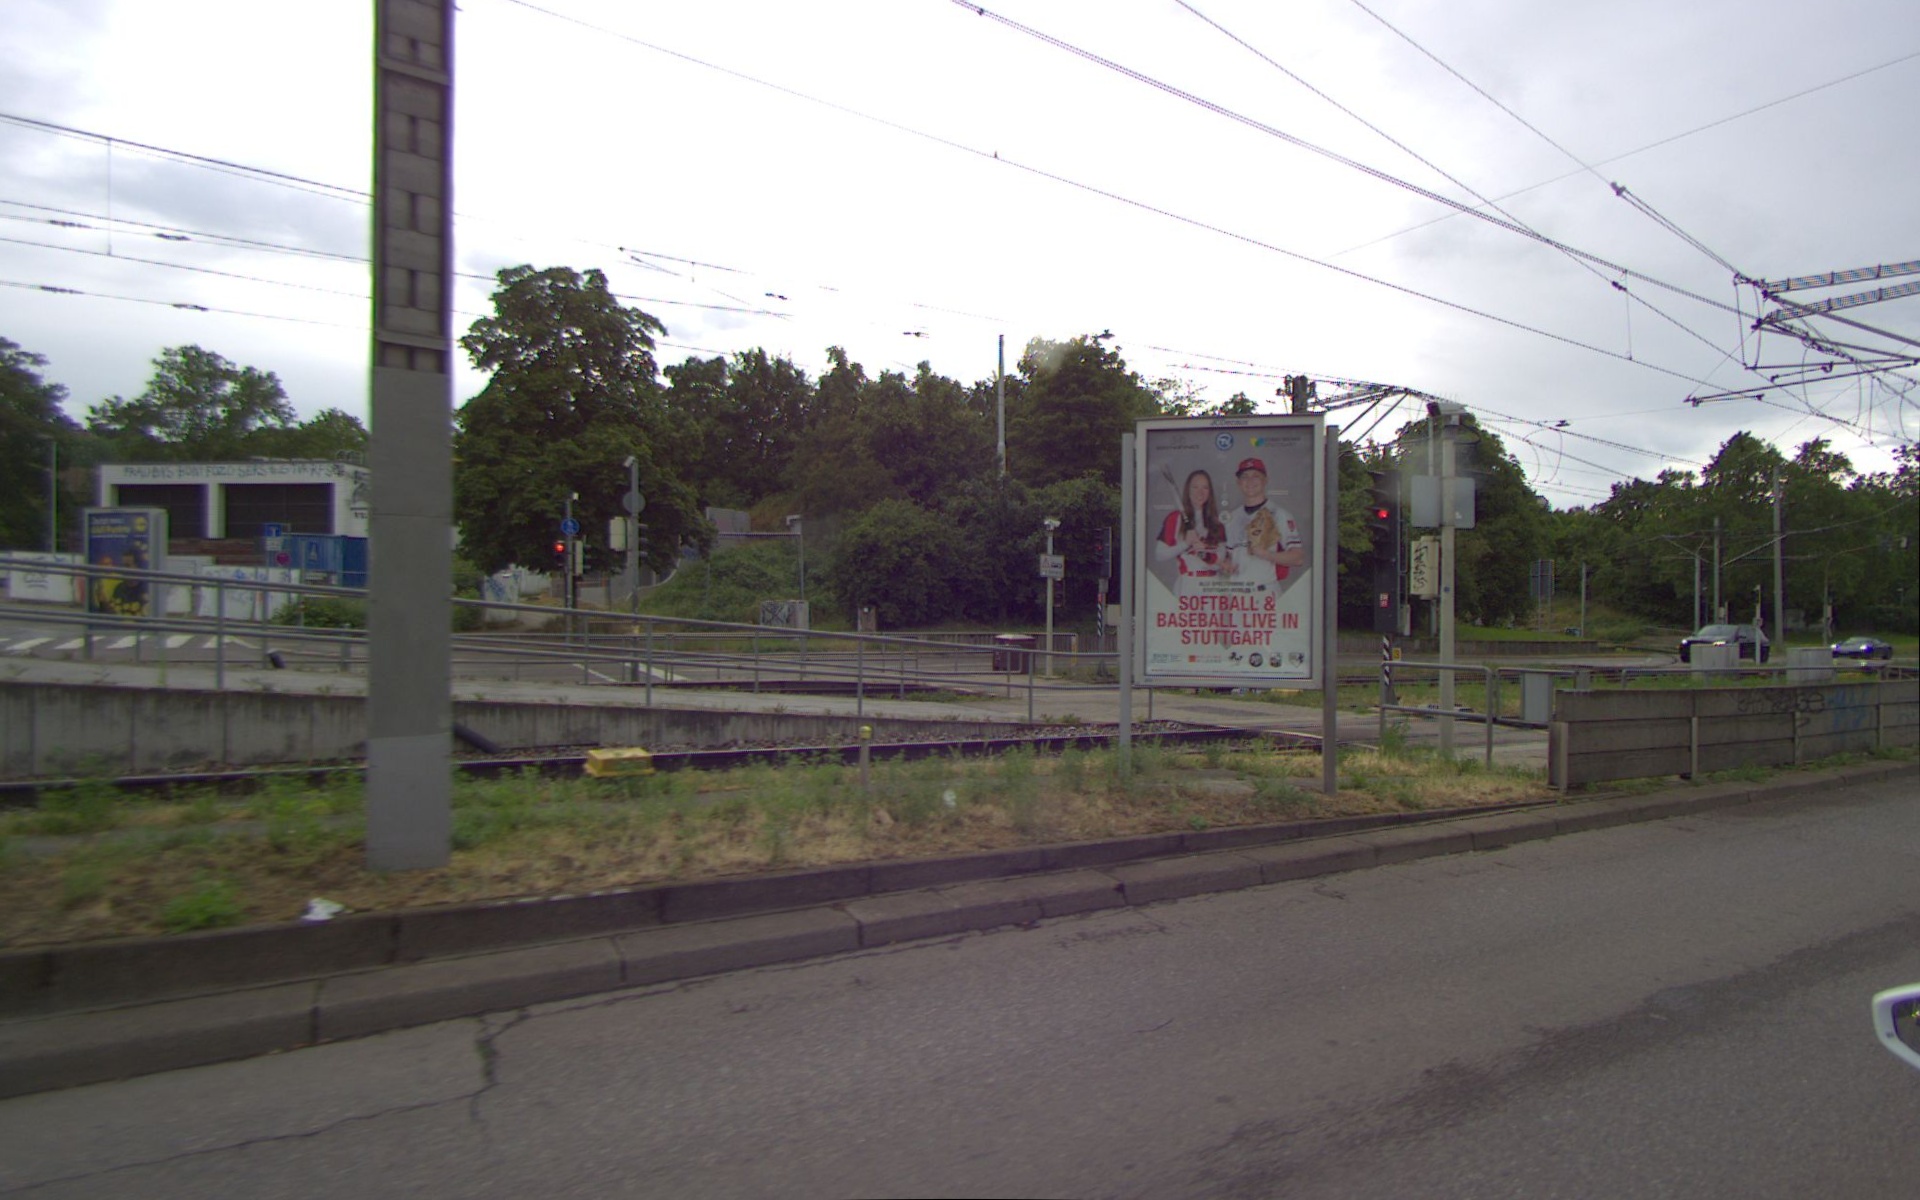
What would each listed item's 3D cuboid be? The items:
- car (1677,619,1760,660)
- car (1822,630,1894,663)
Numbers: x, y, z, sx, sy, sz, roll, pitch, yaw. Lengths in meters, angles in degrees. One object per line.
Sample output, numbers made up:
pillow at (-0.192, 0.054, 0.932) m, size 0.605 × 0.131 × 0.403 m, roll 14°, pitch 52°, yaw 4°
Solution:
car at (34.565, 1.767, 45.791) m, size 3.258 × 1.654 × 1.661 m, roll -1°, pitch 3°, yaw -26°
car at (53.314, 2.753, 59.643) m, size 3.760 × 1.654 × 1.844 m, roll -1°, pitch 3°, yaw -26°
